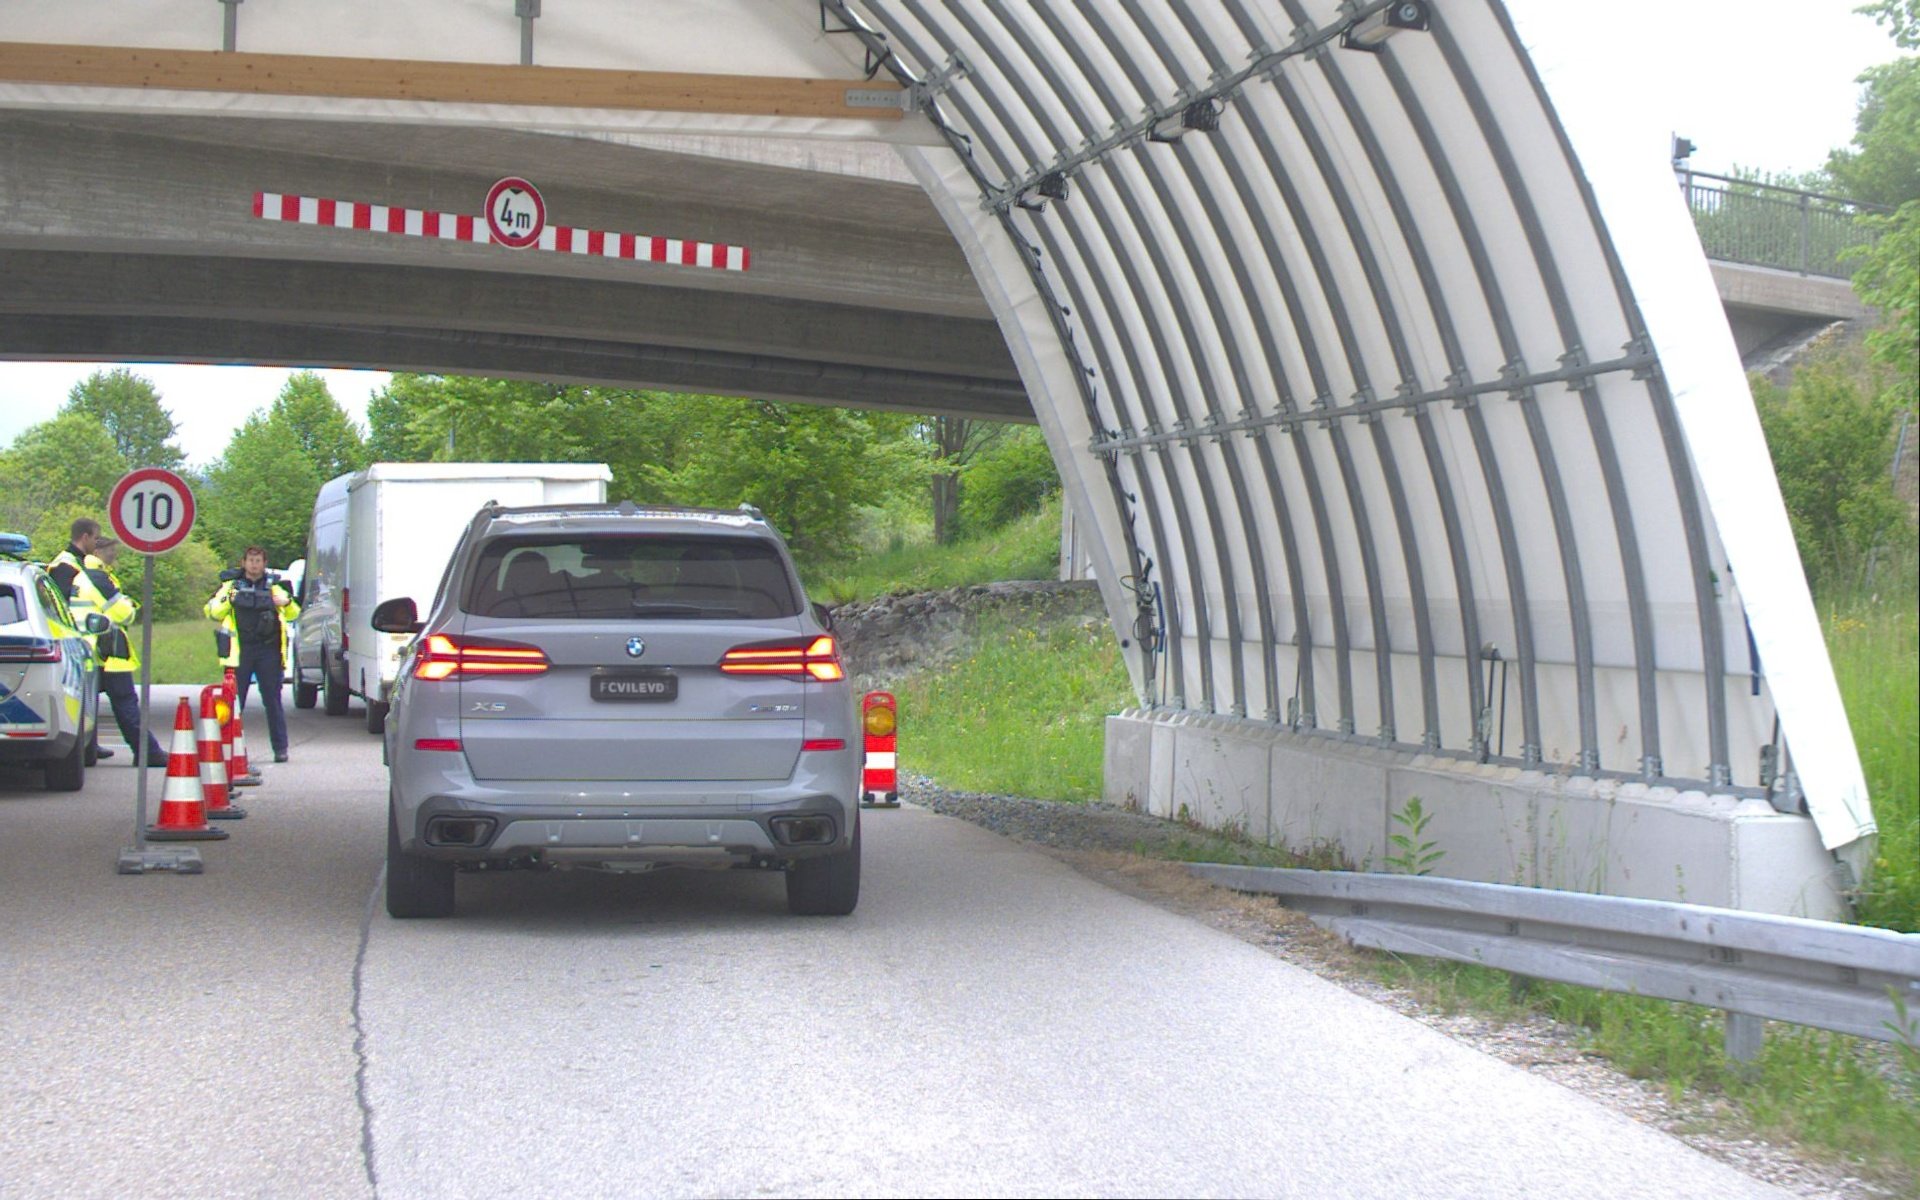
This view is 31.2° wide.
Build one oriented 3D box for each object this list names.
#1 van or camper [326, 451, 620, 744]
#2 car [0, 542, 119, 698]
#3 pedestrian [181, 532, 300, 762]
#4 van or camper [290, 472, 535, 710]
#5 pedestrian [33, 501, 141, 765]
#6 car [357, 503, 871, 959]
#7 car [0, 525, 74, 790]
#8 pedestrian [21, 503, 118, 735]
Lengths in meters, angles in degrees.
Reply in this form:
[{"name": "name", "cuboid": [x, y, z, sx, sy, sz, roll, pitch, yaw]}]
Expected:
[{"name": "van or camper", "cuboid": [-4.840, -0.049, 33.261, 2.229, 2.543, 6.613, 0, 0, -13]}, {"name": "car", "cuboid": [-13.789, 0.249, 45.509, 4.807, 2.007, 1.840, 0, 0, 8]}, {"name": "pedestrian", "cuboid": [-5.495, 0.346, 26.233, 0.779, 1.716, 0.757, -1, 0, -20]}, {"name": "van or camper", "cuboid": [-6.327, -0.117, 39.220, 2.103, 2.510, 5.553, 0, 0, -16]}, {"name": "pedestrian", "cuboid": [-6.453, 0.237, 25.414, 0.749, 1.912, 0.763, 0, 0, -14]}, {"name": "car", "cuboid": [-1.652, 0.489, 15.450, 1.993, 1.759, 4.001, 0, 0, -9]}, {"name": "car", "cuboid": [-6.952, 0.352, 23.143, 1.877, 1.641, 4.001, -1, 0, -14]}, {"name": "pedestrian", "cuboid": [-6.812, 0.142, 26.326, 0.609, 1.748, 0.666, 0, 0, -5]}]
